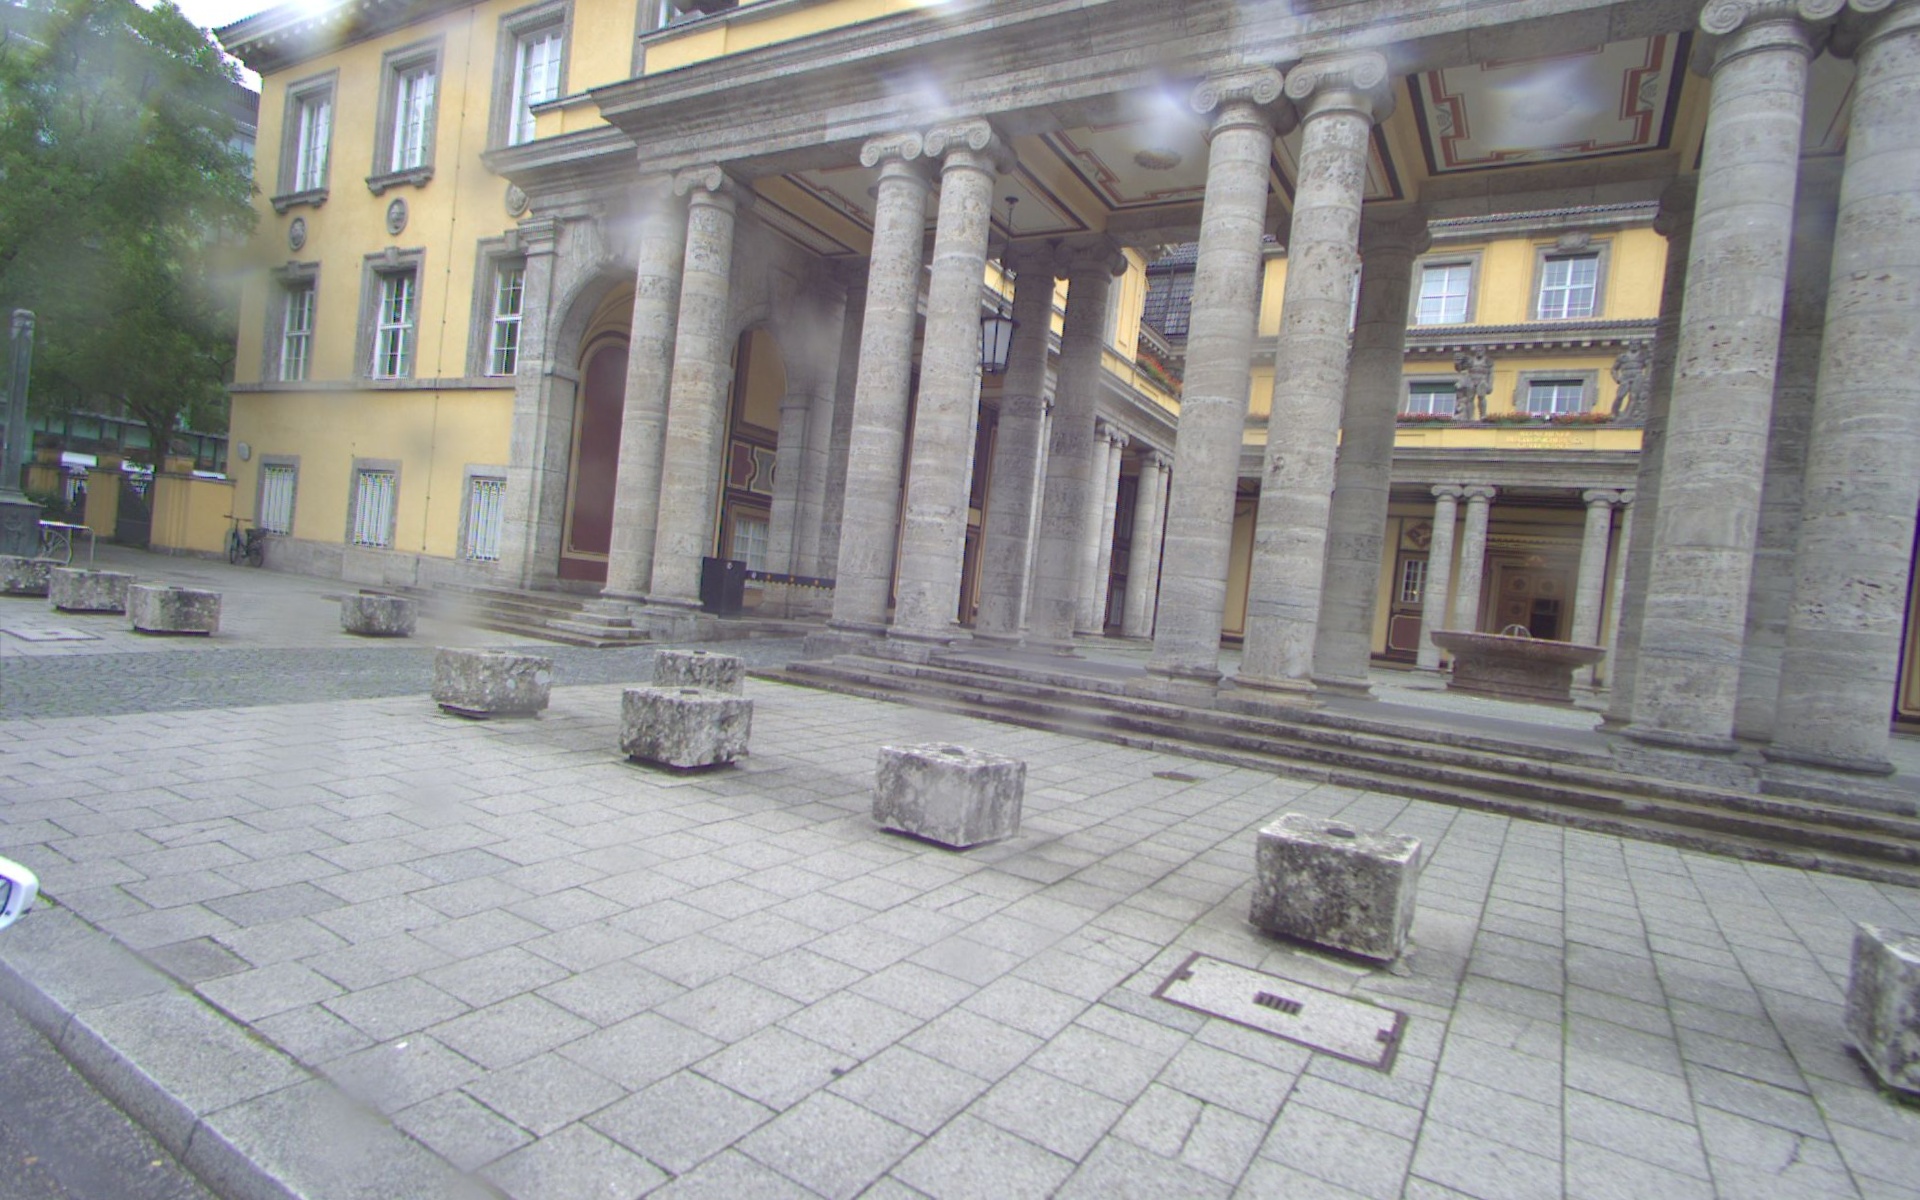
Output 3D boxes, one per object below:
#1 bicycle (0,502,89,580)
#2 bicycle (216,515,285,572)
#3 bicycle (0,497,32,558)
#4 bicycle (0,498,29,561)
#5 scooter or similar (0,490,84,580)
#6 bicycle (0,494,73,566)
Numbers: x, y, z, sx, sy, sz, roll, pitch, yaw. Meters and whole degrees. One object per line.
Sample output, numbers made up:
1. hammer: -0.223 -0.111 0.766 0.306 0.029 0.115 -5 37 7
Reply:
1. bicycle: -14.882 -0.943 15.639 0.463 1.128 1.934 7 2 28
2. bicycle: -17.008 -1.356 24.099 1.869 1.169 0.543 7 2 30
3. bicycle: -18.735 -1.435 18.825 0.463 1.128 1.932 7 2 32
4. bicycle: -18.212 -1.366 18.192 0.463 1.128 1.932 7 2 33
5. scooter or similar: -13.805 -0.968 14.946 0.996 1.238 0.536 5 2 -14
6. bicycle: -16.299 -1.221 16.956 0.463 1.128 1.932 7 2 33
